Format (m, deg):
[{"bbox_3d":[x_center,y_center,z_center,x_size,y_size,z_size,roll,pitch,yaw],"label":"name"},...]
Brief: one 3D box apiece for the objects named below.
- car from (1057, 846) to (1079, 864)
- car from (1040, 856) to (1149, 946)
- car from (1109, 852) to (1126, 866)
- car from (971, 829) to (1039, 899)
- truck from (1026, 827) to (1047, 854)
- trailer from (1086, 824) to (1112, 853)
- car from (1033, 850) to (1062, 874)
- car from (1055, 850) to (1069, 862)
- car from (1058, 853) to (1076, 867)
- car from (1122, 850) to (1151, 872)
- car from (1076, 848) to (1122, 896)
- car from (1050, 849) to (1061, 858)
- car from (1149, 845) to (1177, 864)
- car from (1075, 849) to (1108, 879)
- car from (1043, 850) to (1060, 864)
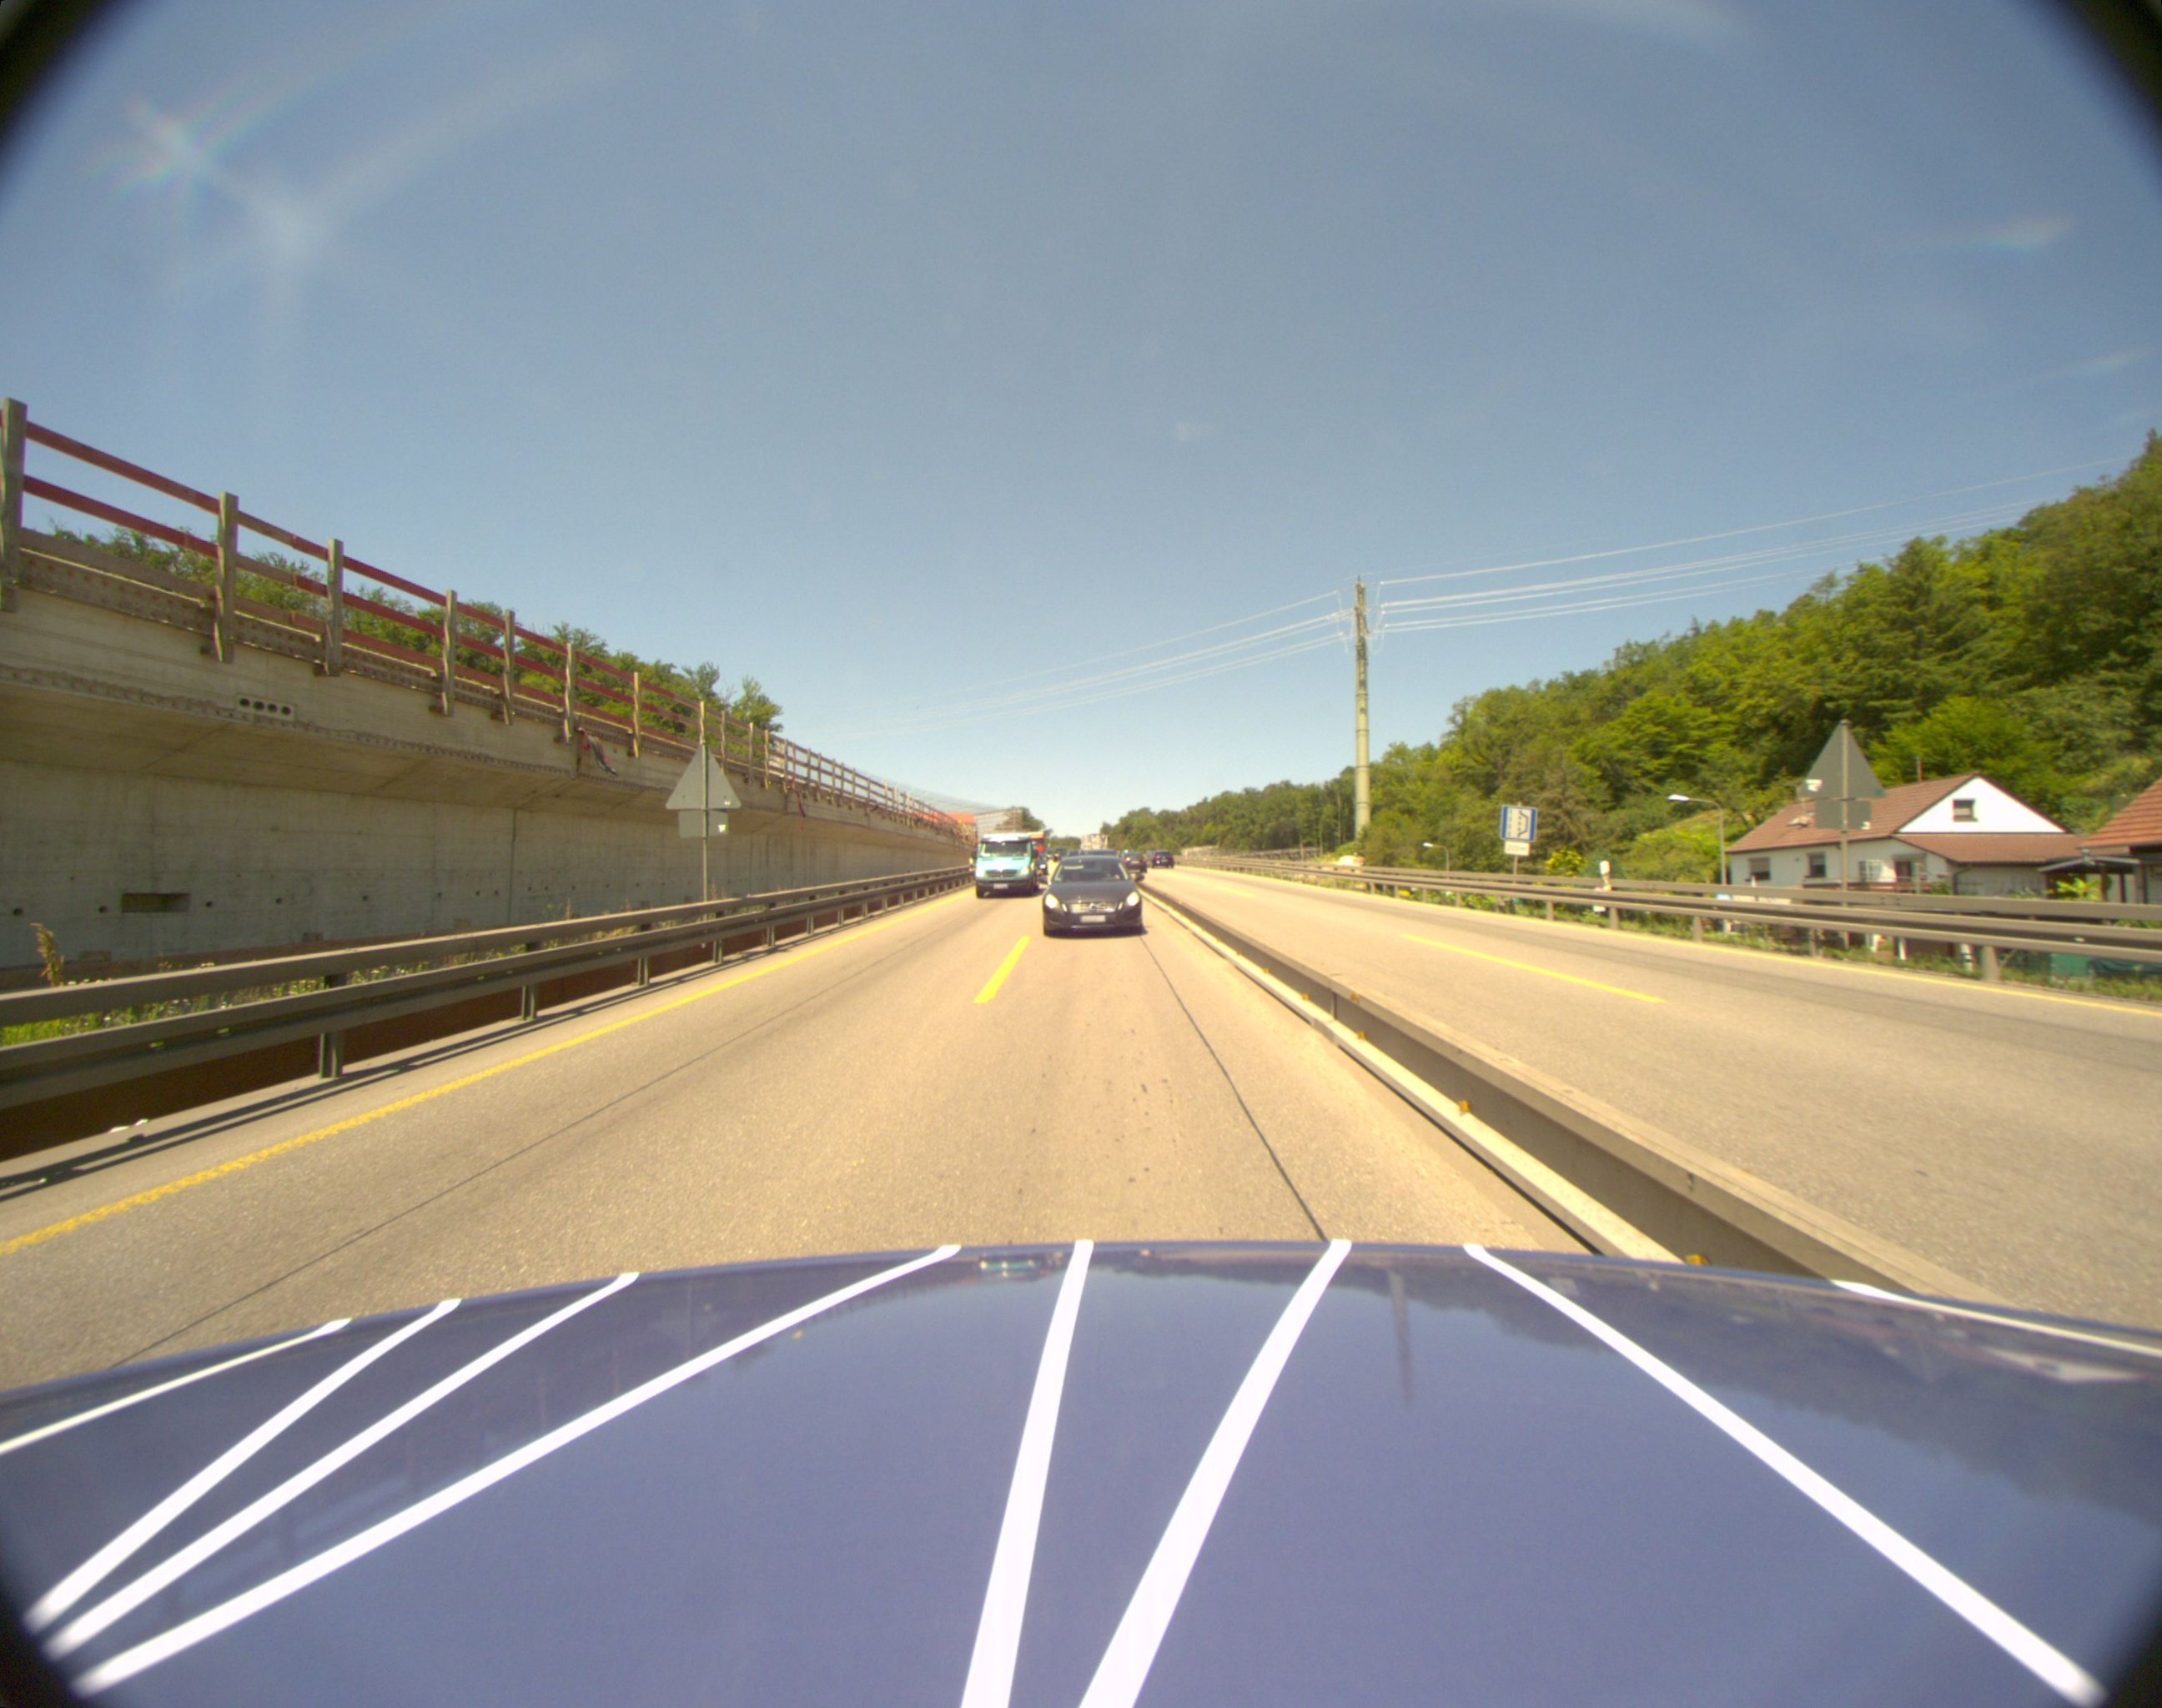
[{"bbox_3d":[-1.014,0.087,62.135,1.647,1.366,3.344,-2,1,0],"label":"car"},{"bbox_3d":[0.112,0.815,15.329,1.844,1.475,4.561,-1,0,-3],"label":"car"},{"bbox_3d":[4.080,0.551,85.485,1.737,1.480,4.001,-1,-1,1],"label":"car"},{"bbox_3d":[-2.732,0.268,28.994,2.218,2.312,6.898,-1,1,-3],"label":"car"},{"bbox_3d":[-6.328,-1.856,106.562,2.472,3.464,9.862,-2,1,-5],"label":"truck"},{"bbox_3d":[2.831,-2.547,123.831,3.260,4.353,14.053,-2,1,-2],"label":"trailer"},{"bbox_3d":[-2.162,0.476,50.020,1.739,1.401,3.584,-2,1,0],"label":"car"},{"bbox_3d":[-2.395,0.272,96.455,1.586,1.366,3.344,-2,1,0],"label":"car"},{"bbox_3d":[-1.484,0.611,78.588,1.647,1.366,3.343,-2,1,-3],"label":"car"},{"bbox_3d":[3.690,0.461,51.310,1.722,1.400,4.000,0,0,1],"label":"car"},{"bbox_3d":[0.606,0.583,27.298,1.520,1.543,3.860,-1,1,0],"label":"car"},{"bbox_3d":[-4.141,-0.131,122.090,1.586,1.366,3.344,-2,1,0],"label":"car"},{"bbox_3d":[6.609,0.015,61.590,1.846,1.410,4.686,0,1,1],"label":"car"},{"bbox_3d":[0.549,0.521,43.116,1.736,1.558,3.618,-2,1,0],"label":"car"},{"bbox_3d":[-3.348,0.326,86.594,1.647,1.366,3.344,-2,1,0],"label":"car"}]
